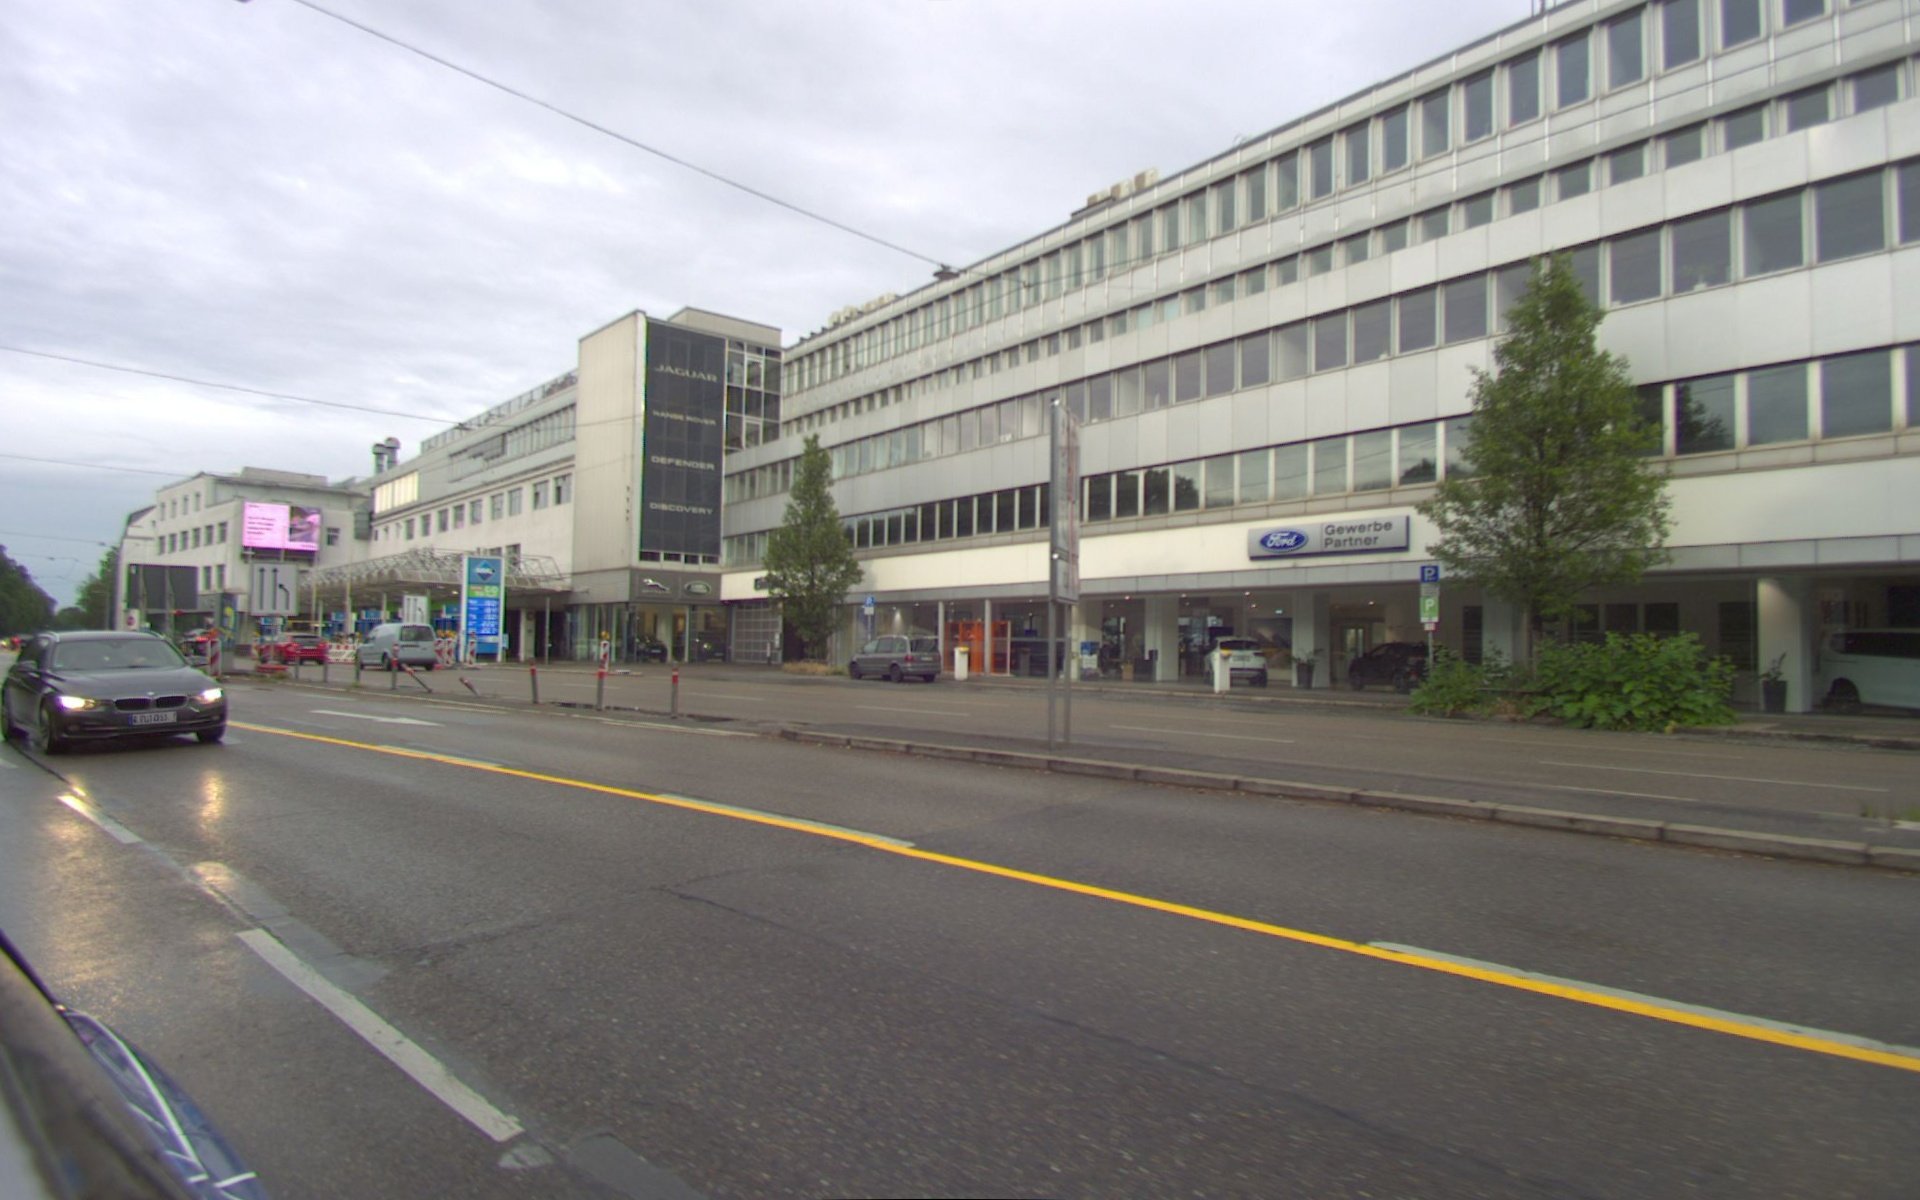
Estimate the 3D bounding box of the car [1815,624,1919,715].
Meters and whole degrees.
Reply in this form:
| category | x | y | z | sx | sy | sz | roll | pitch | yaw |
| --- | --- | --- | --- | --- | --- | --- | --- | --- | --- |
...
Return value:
| category | x | y | z | sx | sy | sz | roll | pitch | yaw |
| --- | --- | --- | --- | --- | --- | --- | --- | --- | --- |
| car | 21.142 | 1.492 | 21.290 | 1.972 | 1.912 | 4.988 | 1 | -4 | -1 |

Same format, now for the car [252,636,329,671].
| category | x | y | z | sx | sy | sz | roll | pitch | yaw |
| --- | --- | --- | --- | --- | --- | --- | --- | --- | --- |
| car | -30.847 | 2.460 | 46.594 | 4.370 | 1.514 | 1.810 | -2 | -5 | 41 |

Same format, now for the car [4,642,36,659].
| category | x | y | z | sx | sy | sz | roll | pitch | yaw |
| --- | --- | --- | --- | --- | --- | --- | --- | --- | --- |
| car | -79.037 | 4.210 | 85.082 | 4.115 | 1.365 | 1.670 | -2 | -5 | 44 |

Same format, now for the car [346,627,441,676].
| category | x | y | z | sx | sy | sz | roll | pitch | yaw |
| --- | --- | --- | --- | --- | --- | --- | --- | --- | --- |
| car | -21.971 | 1.993 | 39.205 | 4.298 | 1.799 | 1.716 | -2 | -5 | 40 |

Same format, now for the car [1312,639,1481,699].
| category | x | y | z | sx | sy | sz | roll | pitch | yaw |
| --- | --- | --- | --- | --- | --- | --- | --- | --- | --- |
| car | 12.379 | 1.944 | 28.922 | 1.967 | 1.586 | 4.010 | 4 | -4 | -35 |

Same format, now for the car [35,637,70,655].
| category | x | y | z | sx | sy | sz | roll | pitch | yaw |
| --- | --- | --- | --- | --- | --- | --- | --- | --- | --- |
| car | -95.355 | 4.825 | 106.316 | 4.827 | 1.720 | 1.959 | -2 | -4 | 40 |

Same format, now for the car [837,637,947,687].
| category | x | y | z | sx | sy | sz | roll | pitch | yaw |
| --- | --- | --- | --- | --- | --- | --- | --- | --- | --- |
| car | -2.677 | 2.371 | 39.104 | 1.825 | 1.792 | 4.738 | 4 | -5 | -38 |

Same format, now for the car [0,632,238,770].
| category | x | y | z | sx | sy | sz | roll | pitch | yaw |
| --- | --- | --- | --- | --- | --- | --- | --- | --- | --- |
| car | -11.222 | 1.189 | 13.237 | 4.171 | 1.461 | 1.743 | -1 | -1 | 37 |

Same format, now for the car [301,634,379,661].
| category | x | y | z | sx | sy | sz | roll | pitch | yaw |
| --- | --- | --- | --- | --- | --- | --- | --- | --- | --- |
| car | -45.115 | 3.474 | 73.749 | 4.375 | 1.784 | 1.971 | 2 | -4 | -9 |

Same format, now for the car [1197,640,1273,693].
| category | x | y | z | sx | sy | sz | roll | pitch | yaw |
| --- | --- | --- | --- | --- | --- | --- | --- | --- | --- |
| car | 9.360 | 2.282 | 34.754 | 1.832 | 1.664 | 4.377 | 1 | -4 | 6 |

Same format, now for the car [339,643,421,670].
| category | x | y | z | sx | sy | sz | roll | pitch | yaw |
| --- | --- | --- | --- | --- | --- | --- | --- | --- | --- |
| car | -40.403 | 3.974 | 70.584 | 4.408 | 1.692 | 2.017 | 2 | -4 | -9 |

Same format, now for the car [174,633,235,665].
| category | x | y | z | sx | sy | sz | roll | pitch | yaw |
| --- | --- | --- | --- | --- | --- | --- | --- | --- | --- |
| car | -42.466 | 2.735 | 56.851 | 4.603 | 1.751 | 1.826 | -2 | -4 | 42 |

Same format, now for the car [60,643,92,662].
| category | x | y | z | sx | sy | sz | roll | pitch | yaw |
| --- | --- | --- | --- | --- | --- | --- | --- | --- | --- |
| car | -76.370 | 4.526 | 87.426 | 4.001 | 1.525 | 1.732 | -1 | -4 | 44 |

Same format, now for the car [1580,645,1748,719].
| category | x | y | z | sx | sy | sz | roll | pitch | yaw |
| --- | --- | --- | --- | --- | --- | --- | --- | --- | --- |
| car | 16.887 | 1.957 | 24.543 | 1.981 | 1.586 | 3.982 | 1 | -4 | 14 |
